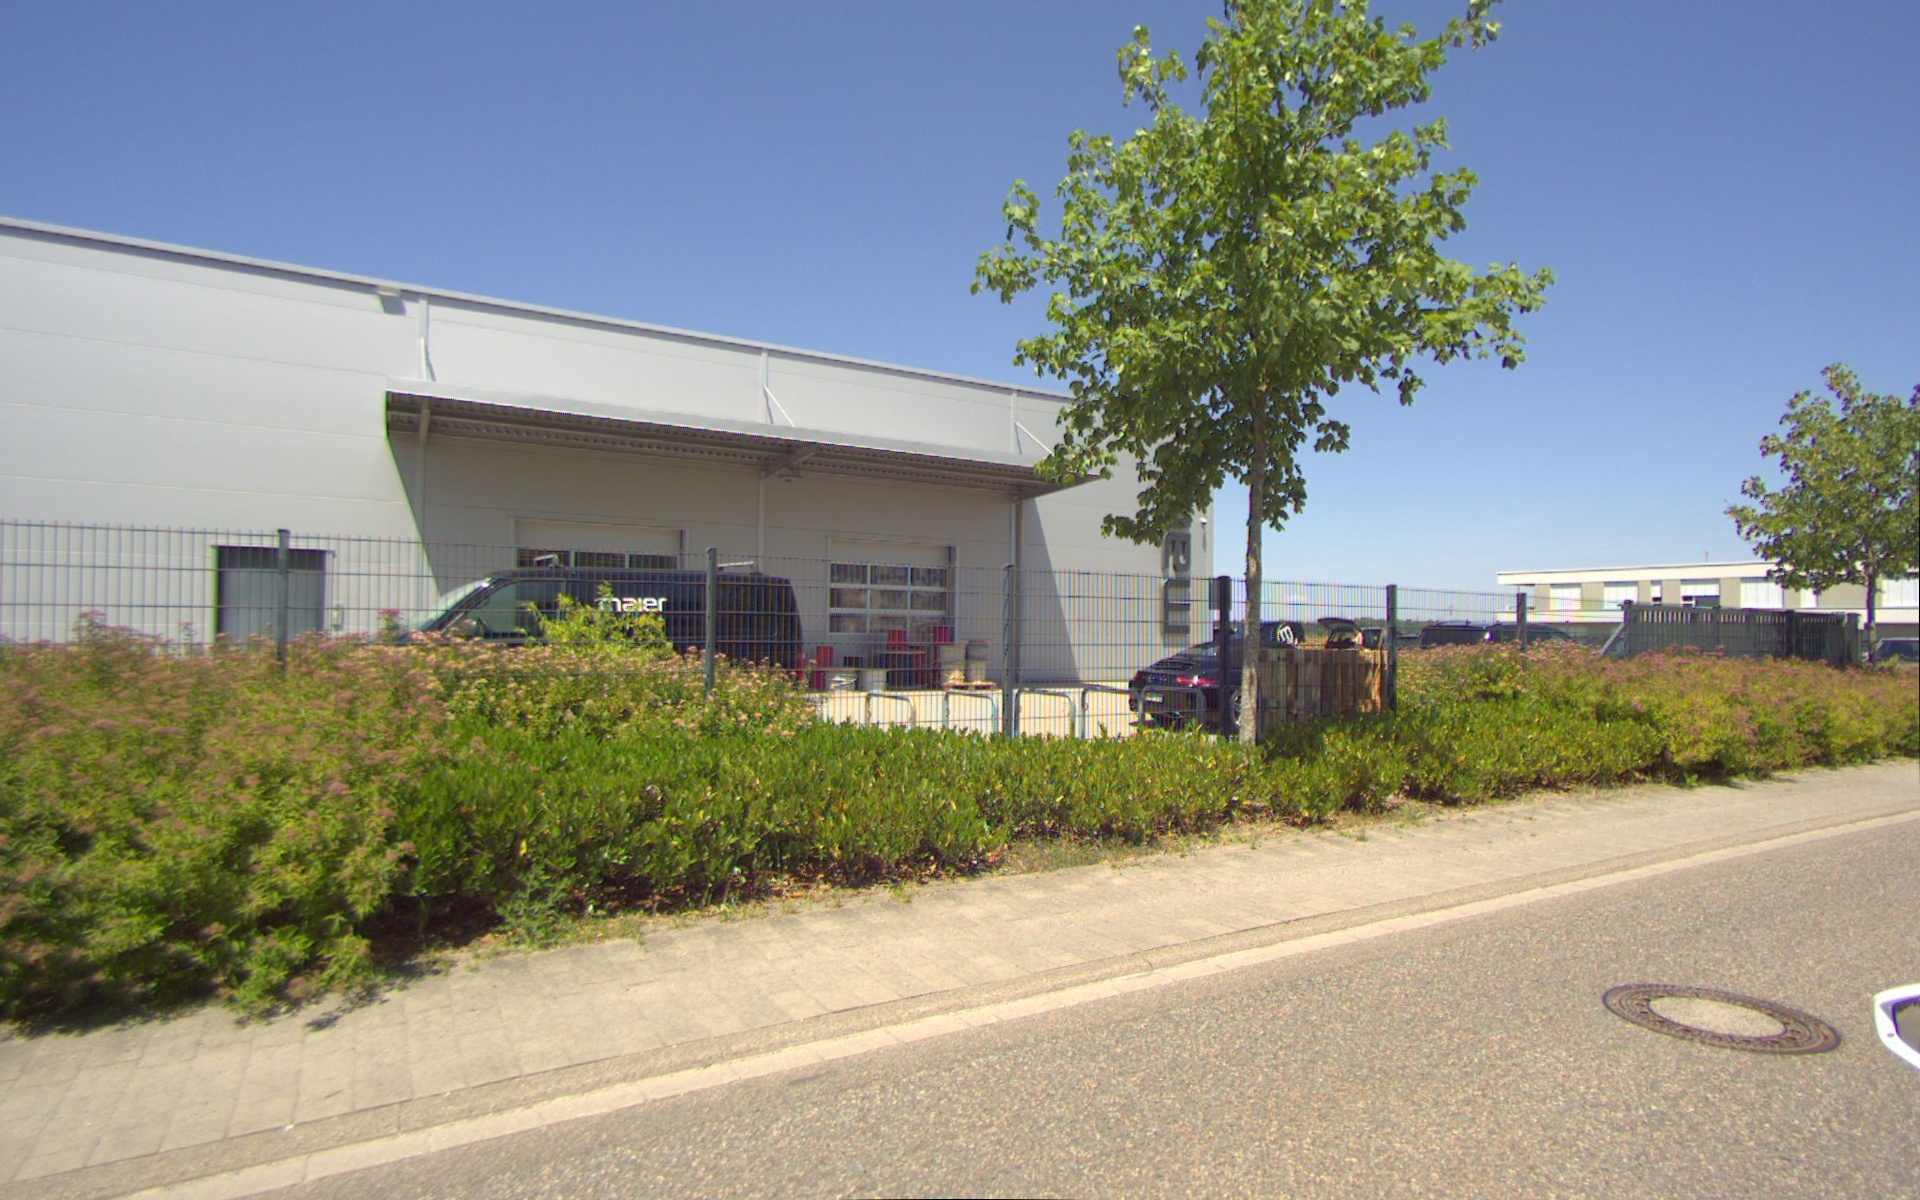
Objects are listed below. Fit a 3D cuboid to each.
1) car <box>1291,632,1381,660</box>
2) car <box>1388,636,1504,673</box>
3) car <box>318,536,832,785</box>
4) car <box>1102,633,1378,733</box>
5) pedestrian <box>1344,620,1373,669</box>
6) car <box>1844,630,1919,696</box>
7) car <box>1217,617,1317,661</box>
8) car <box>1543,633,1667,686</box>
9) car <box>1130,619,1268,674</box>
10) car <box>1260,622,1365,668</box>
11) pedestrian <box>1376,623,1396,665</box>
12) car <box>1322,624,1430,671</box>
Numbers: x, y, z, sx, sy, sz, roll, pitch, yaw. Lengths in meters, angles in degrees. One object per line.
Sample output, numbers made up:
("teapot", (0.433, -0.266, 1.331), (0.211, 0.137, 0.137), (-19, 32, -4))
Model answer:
("car", (16.192, 1.961, 43.237), (3.719, 1.149, 1.815), (2, -2, -33))
("car", (16.063, 1.785, 33.197), (3.719, 1.149, 1.815), (2, -2, -33))
("car", (-3.896, 0.561, 10.583), (4.636, 2.127, 1.992), (2, 0, -29))
("car", (4.280, 1.193, 15.276), (3.952, 1.297, 1.788), (2, -1, -29))
("pedestrian", (13.516, 1.502, 34.071), (0.770, 1.650, 0.613), (2, -1, -44))
("car", (23.314, 1.519, 24.670), (2.965, 1.540, 1.690), (2, -2, -33))
("car", (12.253, 1.549, 40.051), (3.957, 1.627, 1.662), (2, -1, -33))
("car", (19.262, 1.743, 29.956), (3.957, 1.459, 1.662), (2, -2, -33))
("car", (6.760, 1.293, 28.761), (1.775, 1.439, 3.843), (2, -1, -28))
("car", (13.338, 1.685, 37.948), (3.957, 1.626, 1.662), (2, -2, -33))
("pedestrian", (14.646, 1.498, 34.540), (0.493, 1.432, 0.484), (2, -1, -44))
("car", (15.077, 1.698, 36.349), (3.957, 1.626, 1.662), (2, -2, -33))
